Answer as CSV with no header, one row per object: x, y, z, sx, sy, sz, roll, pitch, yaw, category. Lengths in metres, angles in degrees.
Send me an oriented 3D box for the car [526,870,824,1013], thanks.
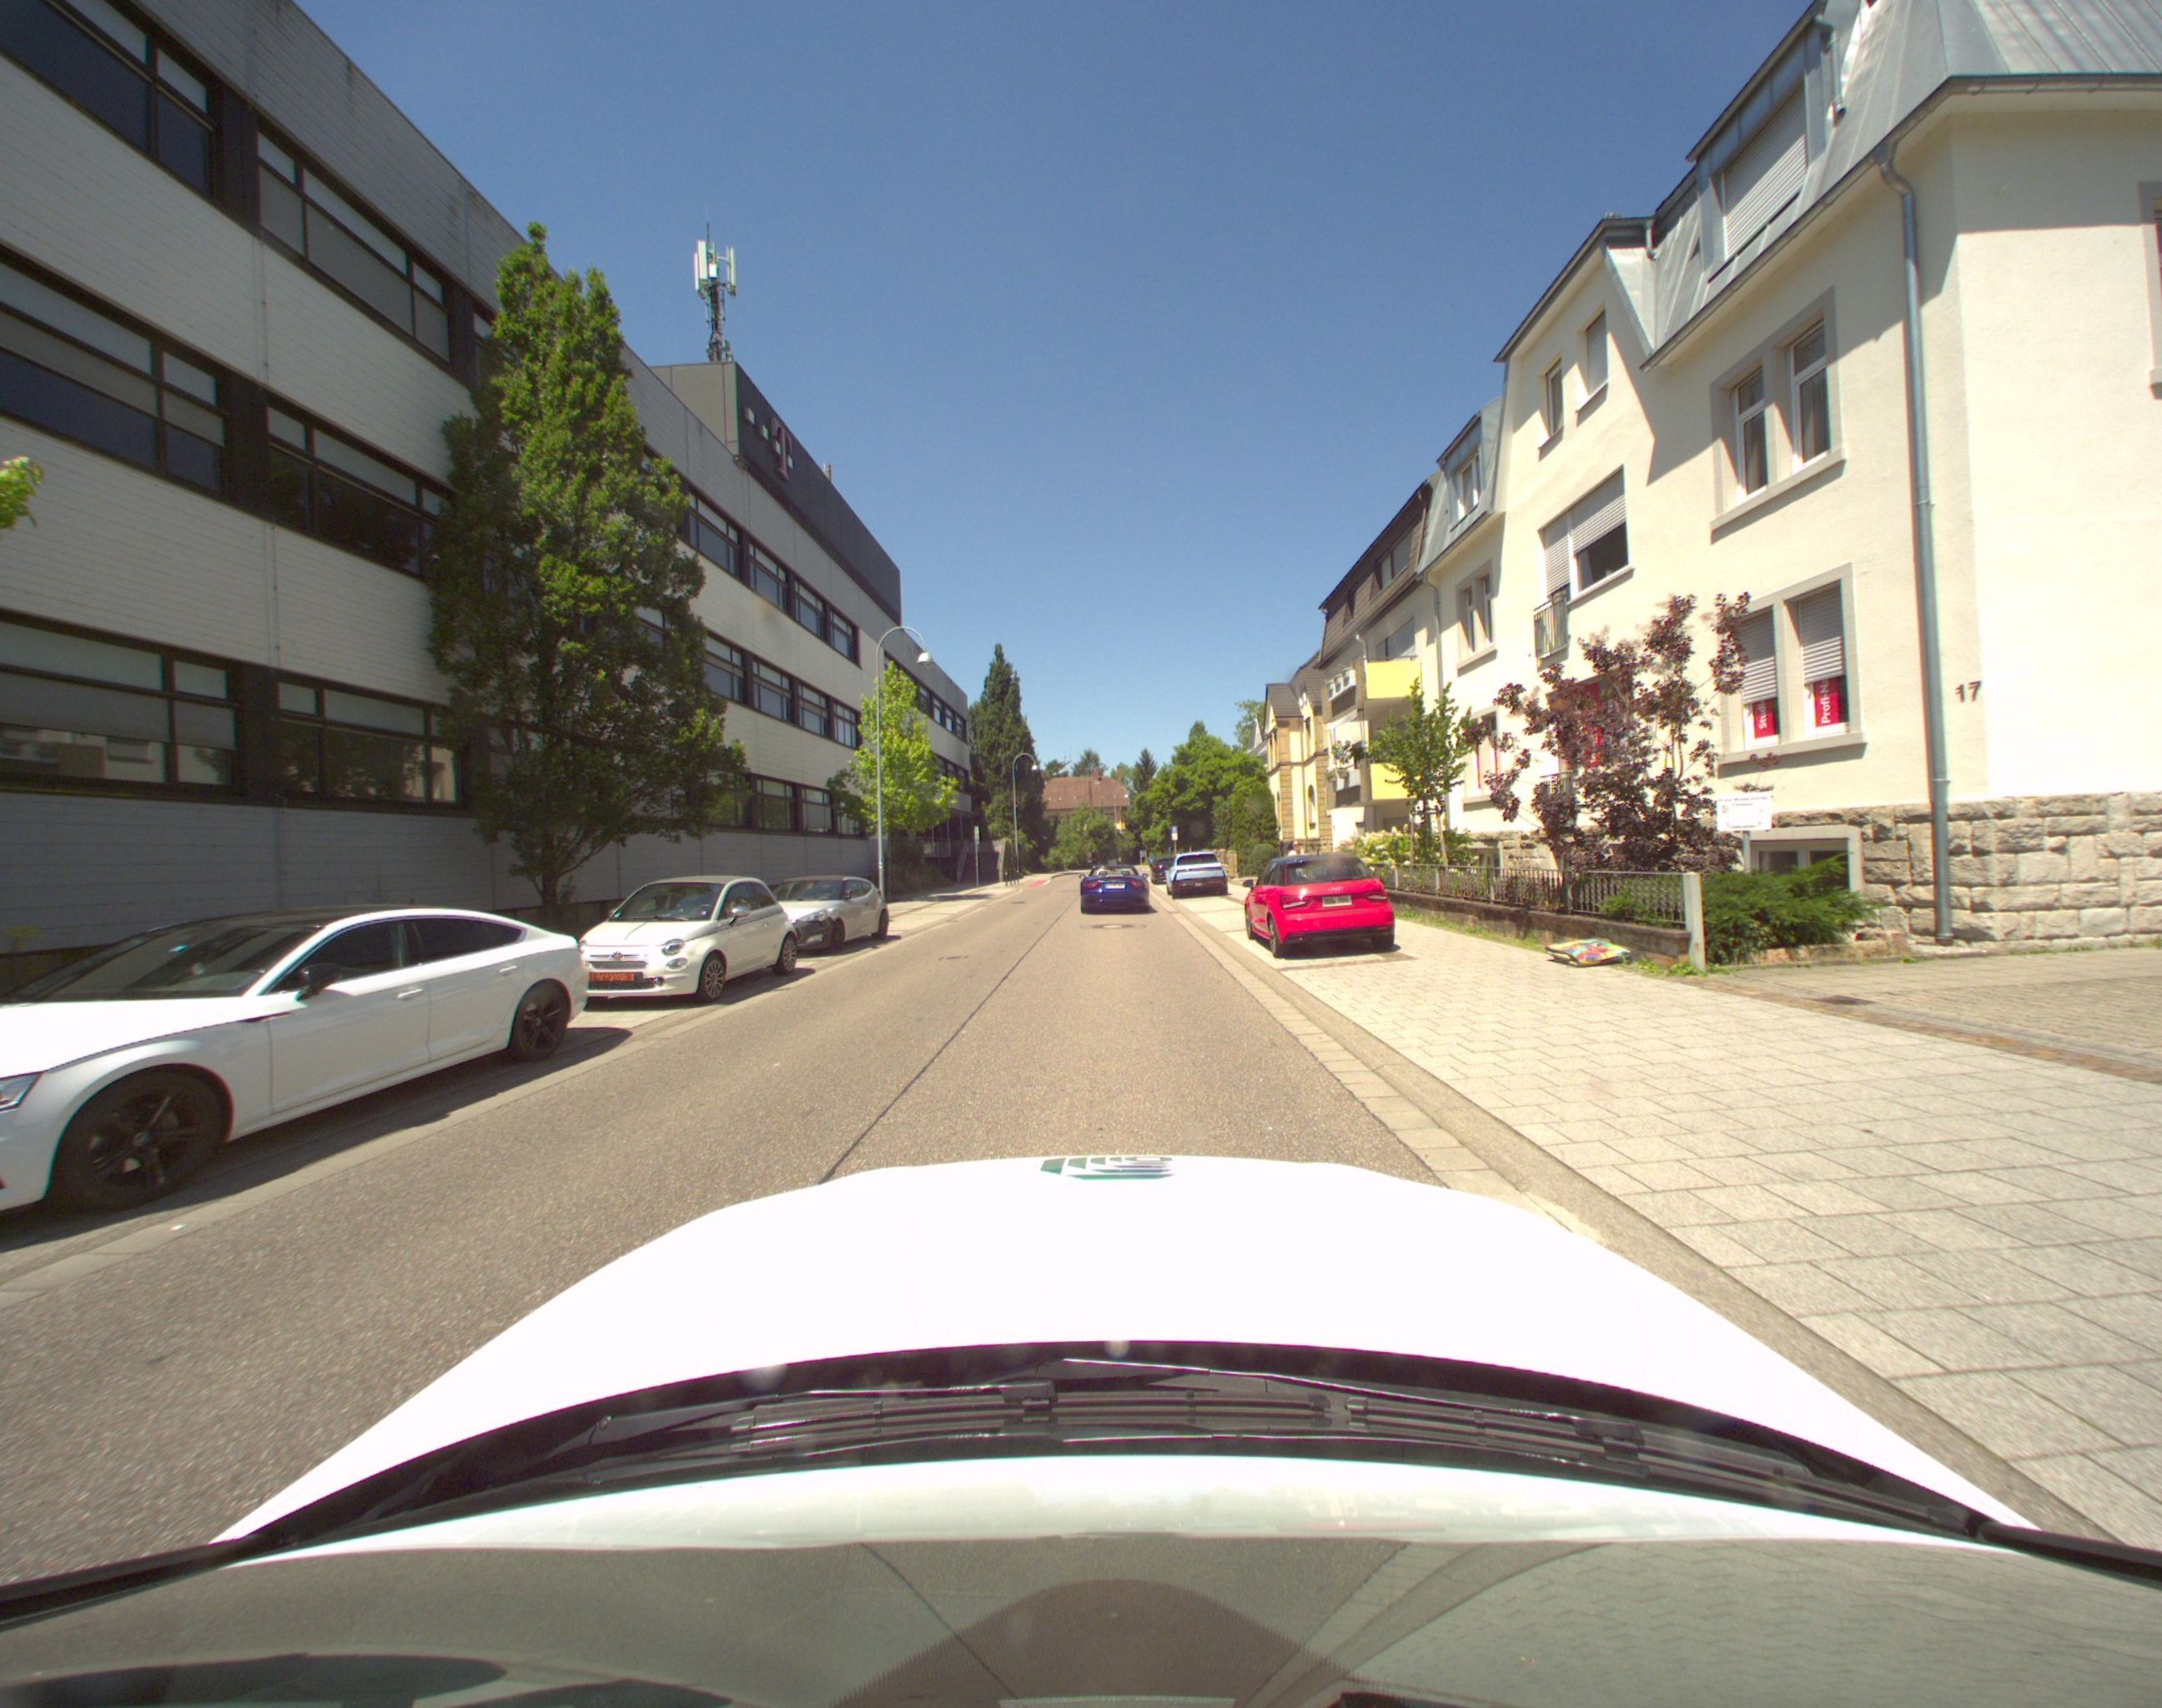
-5.245,1.028,11.303,1.815,1.512,4.292,-1,0,2,car

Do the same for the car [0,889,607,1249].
-5.563,1.051,5.547,1.815,1.411,4.580,-1,0,2,car

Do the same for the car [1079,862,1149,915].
0.968,0.933,23.784,1.819,1.337,4.703,-1,0,2,car

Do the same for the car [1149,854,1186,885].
4.674,0.817,44.362,1.625,1.446,4.400,-5,0,2,car

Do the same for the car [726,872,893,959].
-5.144,1.103,16.018,1.740,1.409,3.936,0,0,3,car

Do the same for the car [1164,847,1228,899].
4.119,0.652,29.840,1.836,1.619,4.430,-4,0,3,car

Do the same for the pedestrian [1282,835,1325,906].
5.478,0.403,20.106,0.738,1.669,0.706,-5,0,1,pedestrian

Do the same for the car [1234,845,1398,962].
3.529,0.667,12.915,1.597,1.440,3.856,-5,0,3,car
